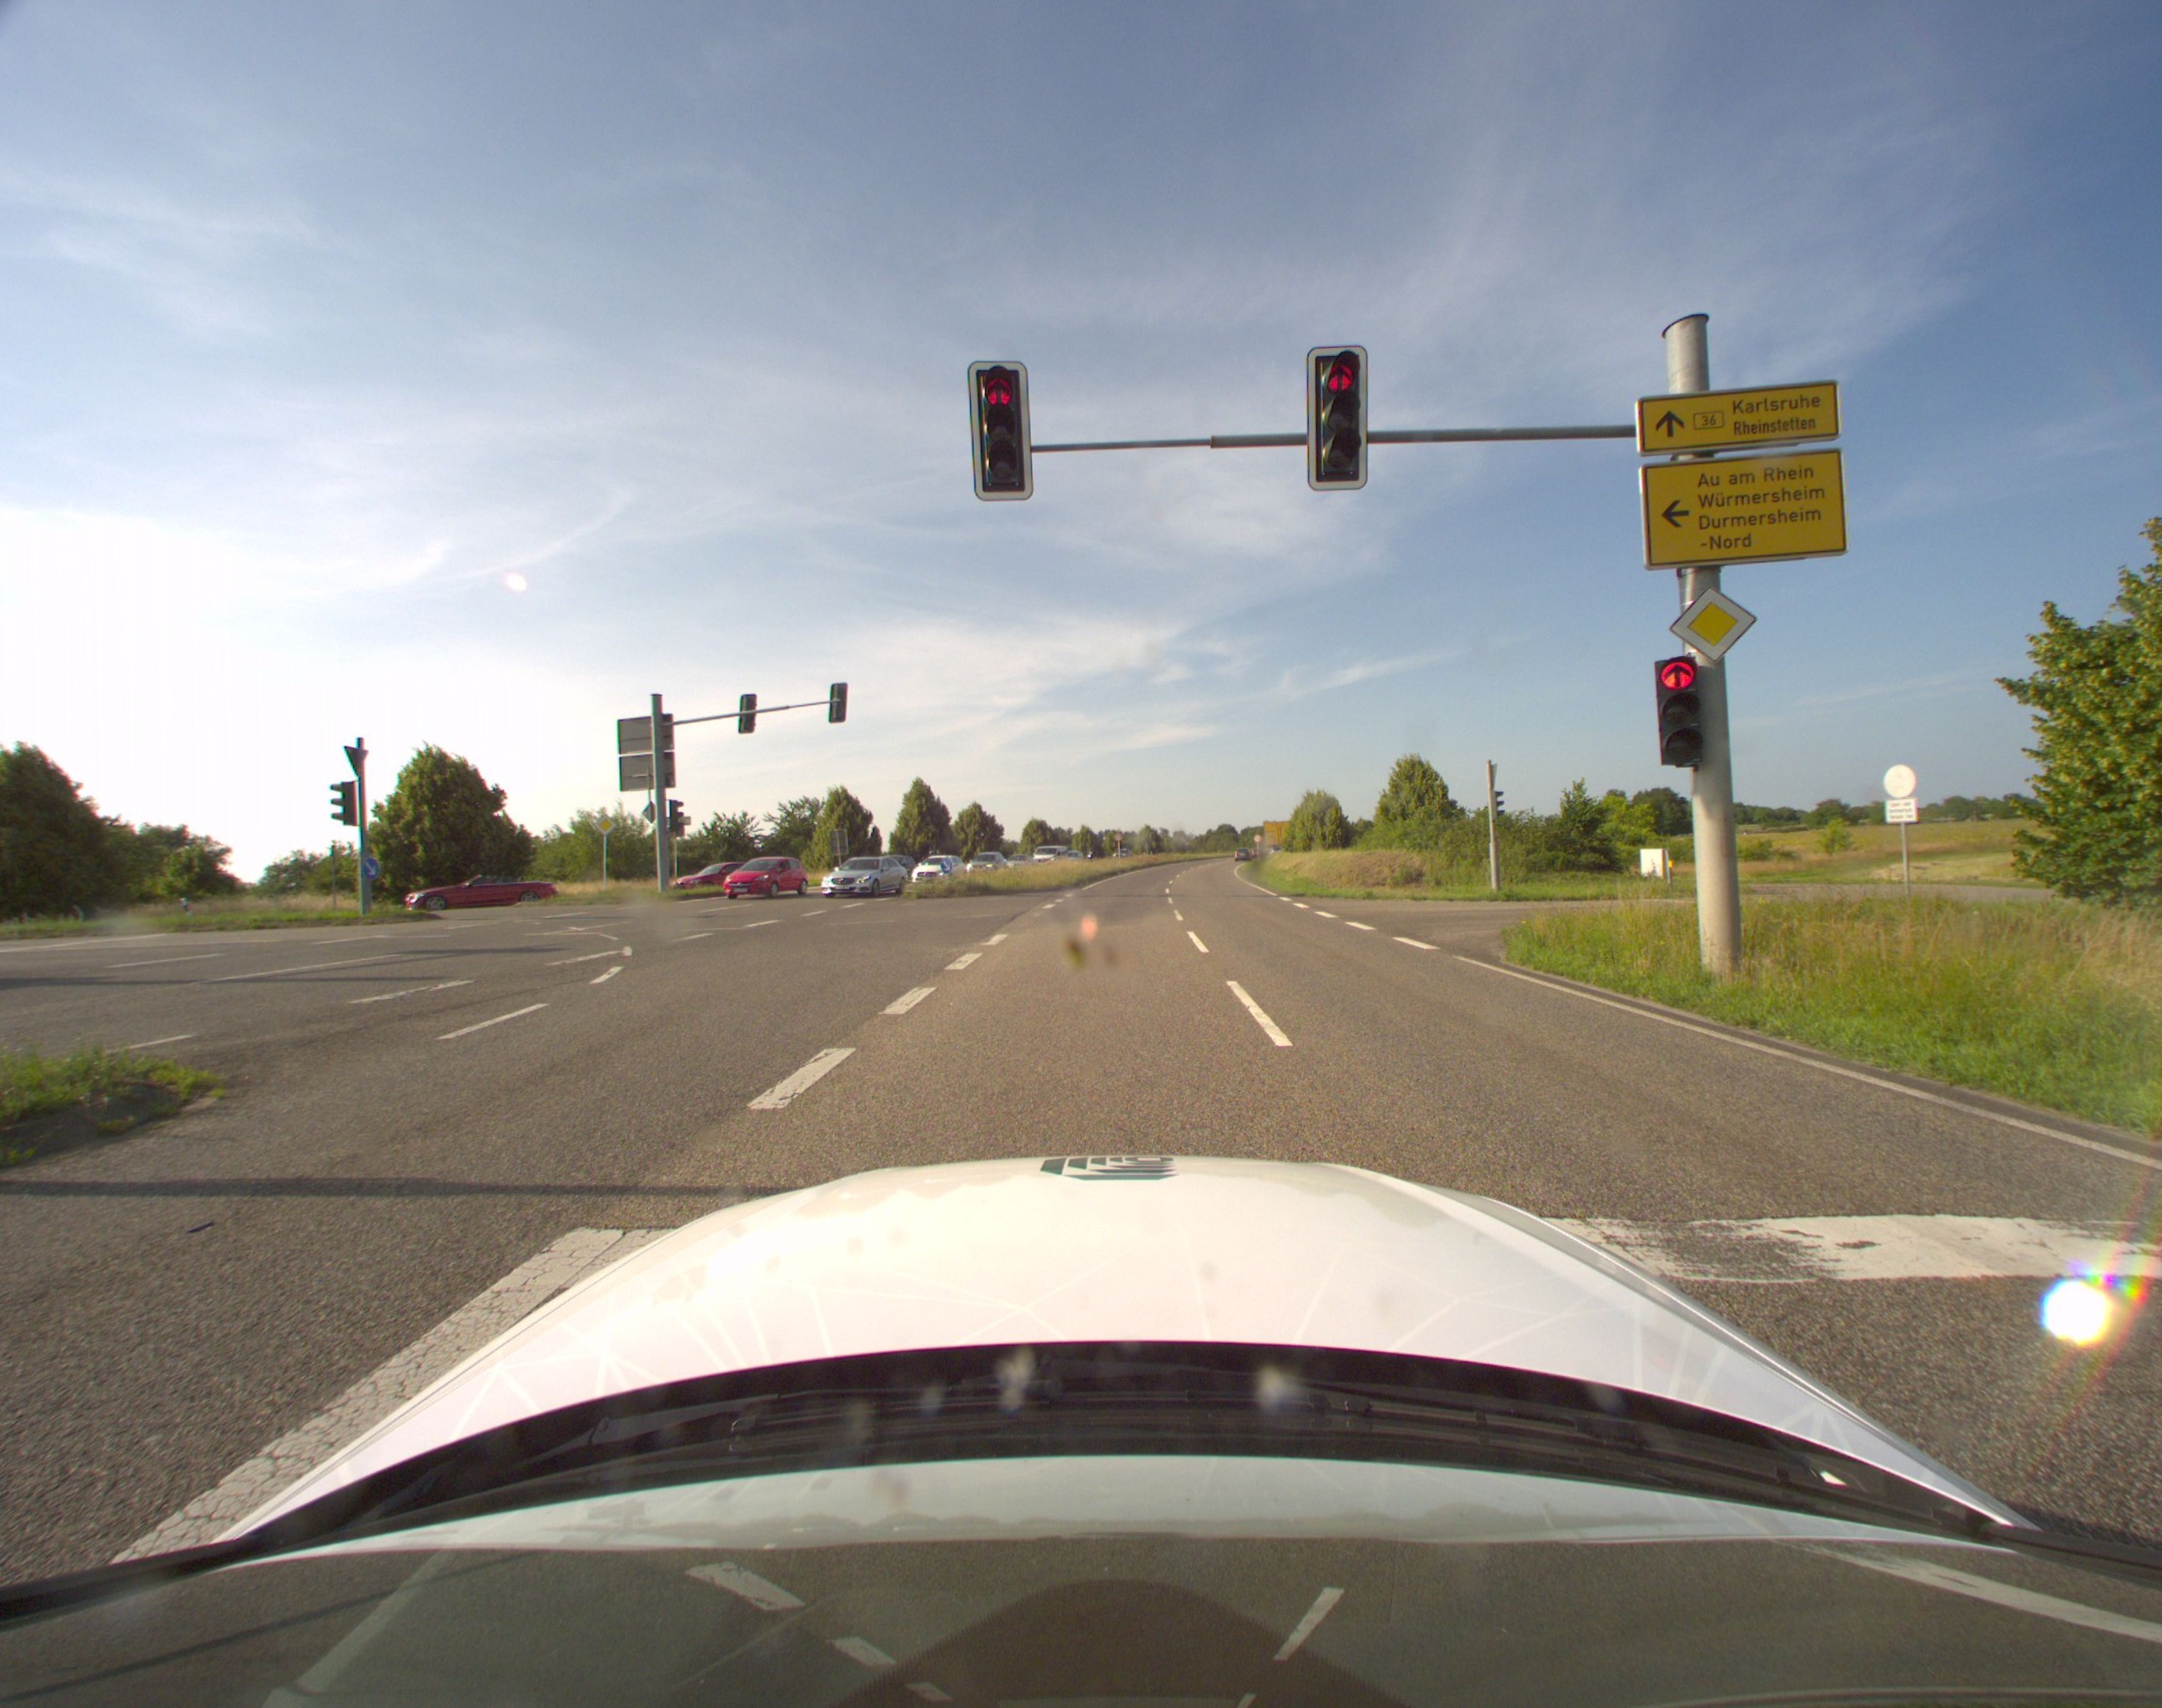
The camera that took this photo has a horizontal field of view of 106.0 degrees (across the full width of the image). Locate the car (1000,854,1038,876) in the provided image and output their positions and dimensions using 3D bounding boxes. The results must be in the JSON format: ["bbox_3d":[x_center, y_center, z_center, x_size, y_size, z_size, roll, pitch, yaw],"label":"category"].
[{"bbox_3d":[-4.198,0.745,55.583,1.777,1.385,4.058,-2,0,6],"label":"car"}]

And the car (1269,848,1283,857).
[{"bbox_3d":[31.713,-0.234,132.511,1.758,1.492,4.005,-1,0,19],"label":"car"}]

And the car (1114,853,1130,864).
[{"bbox_3d":[5.455,0.535,108.883,1.395,1.402,3.435,-2,0,14],"label":"car"}]

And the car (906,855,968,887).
[{"bbox_3d":[-6.946,0.786,39.688,1.777,1.433,4.316,-2,0,6],"label":"car"}]

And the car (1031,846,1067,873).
[{"bbox_3d":[-2.525,0.438,65.294,1.913,2.078,4.255,-2,0,10],"label":"car"}]

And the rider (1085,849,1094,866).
[{"bbox_3d":[1.044,0.382,97.501,0.861,2.013,0.775,-2,0,17],"label":"rider"}]

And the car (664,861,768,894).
[{"bbox_3d":[-16.583,1.046,37.222,1.644,1.326,4.237,-2,0,25],"label":"car"}]

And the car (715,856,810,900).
[{"bbox_3d":[-11.620,0.832,29.993,1.713,1.488,3.808,-2,0,4],"label":"car"}]

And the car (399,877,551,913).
[{"bbox_3d":[-23.217,1.521,31.291,4.502,1.101,1.976,-1,0,-43],"label":"car"}]

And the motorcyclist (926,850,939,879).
[{"bbox_3d":[-9.017,0.649,49.447,0.660,1.747,0.605,-2,0,-1],"label":"motorcyclist"}]

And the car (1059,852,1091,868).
[{"bbox_3d":[-0.527,0.504,73.890,1.772,1.385,4.068,-2,0,16],"label":"car"}]

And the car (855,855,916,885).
[{"bbox_3d":[-10.097,0.783,42.393,1.777,1.433,4.058,-2,0,6],"label":"car"}]

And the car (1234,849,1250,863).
[{"bbox_3d":[19.032,0.269,96.287,1.773,1.605,4.207,-1,-1,10],"label":"car"}]

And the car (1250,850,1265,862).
[{"bbox_3d":[24.878,0.288,114.868,1.796,1.565,4.549,-1,0,15],"label":"car"}]

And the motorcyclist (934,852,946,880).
[{"bbox_3d":[-9.130,0.774,52.796,0.660,1.817,0.605,-2,0,-1],"label":"motorcyclist"}]

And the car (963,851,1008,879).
[{"bbox_3d":[-5.708,0.660,49.117,1.777,1.568,4.058,-2,0,6],"label":"car"}]

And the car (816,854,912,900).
[{"bbox_3d":[-7.862,0.793,29.975,1.777,1.488,4.659,-2,0,6],"label":"car"}]
